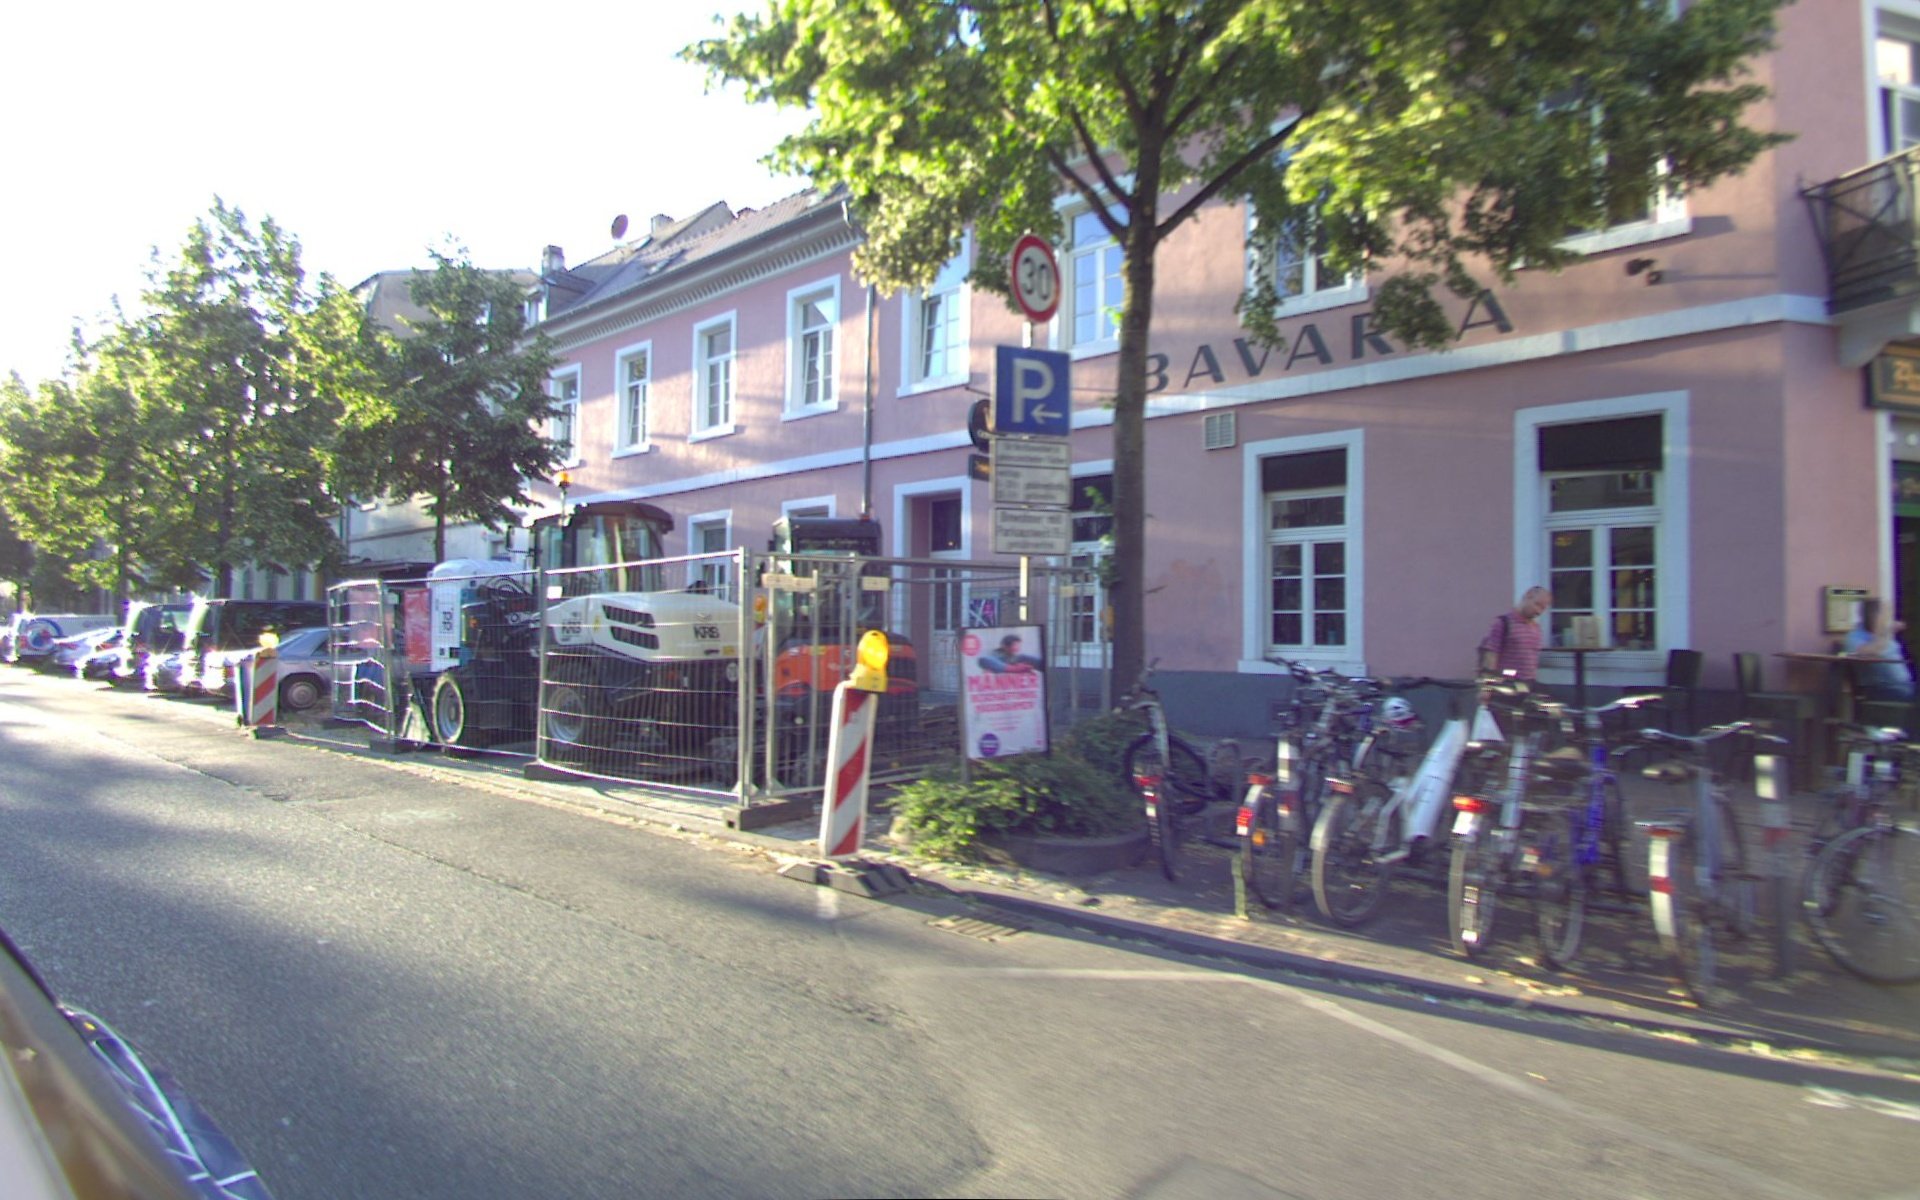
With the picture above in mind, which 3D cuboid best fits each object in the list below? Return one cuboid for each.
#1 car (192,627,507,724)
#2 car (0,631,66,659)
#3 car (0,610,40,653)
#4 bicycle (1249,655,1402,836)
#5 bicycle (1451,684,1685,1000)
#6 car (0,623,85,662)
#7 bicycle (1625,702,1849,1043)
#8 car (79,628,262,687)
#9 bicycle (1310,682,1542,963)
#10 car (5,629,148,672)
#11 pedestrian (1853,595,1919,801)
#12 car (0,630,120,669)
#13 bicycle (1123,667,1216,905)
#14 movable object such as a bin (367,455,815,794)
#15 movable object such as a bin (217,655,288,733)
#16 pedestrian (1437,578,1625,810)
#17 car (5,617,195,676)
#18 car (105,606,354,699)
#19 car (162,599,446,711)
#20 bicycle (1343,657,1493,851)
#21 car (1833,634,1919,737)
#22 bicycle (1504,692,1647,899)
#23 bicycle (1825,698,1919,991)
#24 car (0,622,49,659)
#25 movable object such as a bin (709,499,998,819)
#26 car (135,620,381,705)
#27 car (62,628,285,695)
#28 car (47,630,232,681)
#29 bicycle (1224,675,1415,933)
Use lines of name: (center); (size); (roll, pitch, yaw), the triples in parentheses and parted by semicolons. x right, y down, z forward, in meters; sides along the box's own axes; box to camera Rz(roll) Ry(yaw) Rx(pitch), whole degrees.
car: (-10.846, 1.247, 18.246); (1.893, 1.481, 4.543); (-2, -2, 44)
car: (-50.414, 2.383, 53.833); (1.593, 1.450, 4.107); (-2, -2, 42)
car: (-60.668, 1.969, 62.432); (2.170, 2.641, 5.600); (-2, -1, 41)
bicycle: (2.787, 1.029, 7.633); (0.445, 1.157, 1.664); (0, 0, 44)
bicycle: (2.865, 1.010, 4.694); (1.662, 1.086, 0.445); (-2, 1, -41)
car: (-44.921, 2.040, 48.642); (1.806, 1.820, 4.093); (-2, -3, 42)
bicycle: (3.349, 1.039, 4.305); (1.662, 1.029, 0.445); (-2, 1, -41)
car: (-22.391, 1.584, 28.793); (1.905, 1.513, 3.880); (-2, -2, 43)
bicycle: (2.433, 1.042, 5.185); (1.662, 1.086, 0.445); (-2, 1, -41)
car: (-34.084, 1.907, 39.100); (1.964, 1.567, 3.993); (-2, -3, 43)
pedestrian: (7.962, 0.799, 8.402); (0.718, 1.662, 0.501); (1, -1, 32)
car: (-36.249, 1.956, 40.322); (1.962, 1.495, 3.996); (-2, -3, 40)
bicycle: (1.234, 1.034, 6.129); (0.439, 1.125, 1.545); (-1, 1, 8)
movable object such as a bin: (-4.407, 0.288, 11.652); (5.300, 2.992, 2.597); (-1, -2, 41)
movable object such as a bin: (-10.696, 1.400, 15.294); (0.883, 1.113, 0.682); (-2, -3, 43)
pedestrian: (4.588, 0.732, 8.210); (1.026, 1.779, 0.818); (0, -2, 2)
car: (-30.059, 1.609, 35.514); (1.972, 1.922, 4.820); (-2, -3, 41)
car: (-17.149, 1.173, 23.934); (2.067, 1.991, 4.436); (-2, -2, 41)
car: (-13.087, 1.019, 20.436); (1.963, 1.991, 4.439); (-2, -2, 39)
bicycle: (3.301, 1.025, 7.218); (0.445, 1.157, 1.664); (0, 0, 44)
car: (14.956, 1.232, 14.558); (1.982, 1.482, 4.501); (-1, -2, 18)
bicycle: (3.675, 1.097, 6.005); (0.445, 0.987, 1.309); (0, 0, 44)
bicycle: (4.393, 1.053, 4.658); (0.470, 1.067, 1.474); (0, 0, 35)
car: (-52.847, 2.212, 55.228); (1.919, 1.968, 4.451); (-2, -2, 43)
movable object such as a bin: (-1.132, 0.546, 10.929); (2.278, 2.514, 5.762); (0, -2, -6)
car: (-15.170, 1.277, 22.037); (1.859, 1.649, 4.086); (-2, -2, 41)
car: (-20.388, 1.535, 26.408); (1.838, 1.512, 4.287); (-2, -1, 36)
car: (-26.334, 1.731, 32.599); (1.733, 1.496, 4.429); (-2, -2, 43)
bicycle: (2.050, 1.037, 5.638); (0.444, 1.086, 1.665); (0, 1, 40)
